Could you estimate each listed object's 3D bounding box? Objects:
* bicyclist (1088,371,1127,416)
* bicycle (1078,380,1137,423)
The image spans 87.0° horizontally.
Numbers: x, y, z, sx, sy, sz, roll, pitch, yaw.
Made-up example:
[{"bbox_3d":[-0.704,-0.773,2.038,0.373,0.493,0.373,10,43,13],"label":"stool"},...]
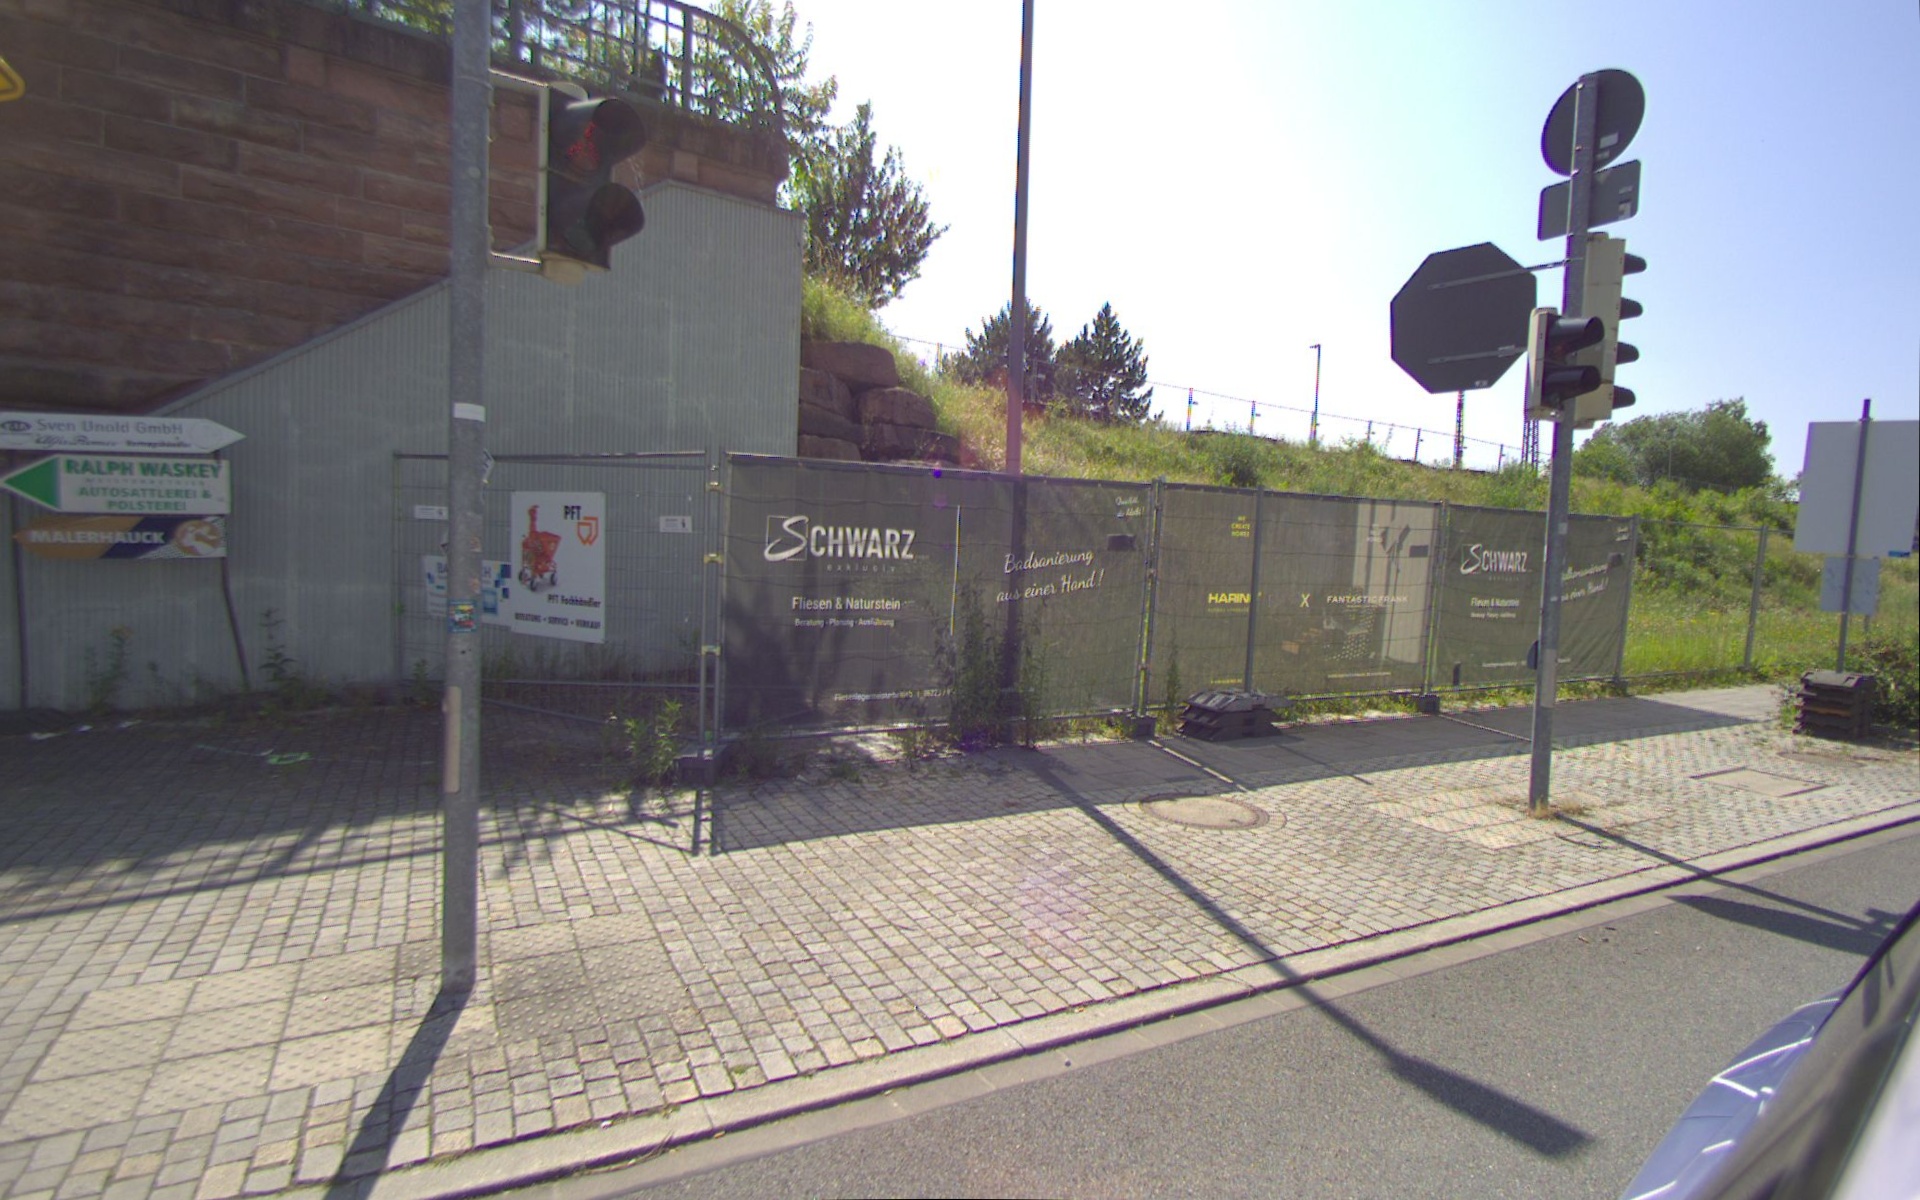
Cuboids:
[{"bbox_3d":[5.413,-7.568,37.172,1.043,1.405,0.952,-1,2,-38],"label":"bicyclist"},{"bbox_3d":[5.437,-7.279,37.195,2.135,1.228,0.937,-1,2,-38],"label":"bicycle"}]
